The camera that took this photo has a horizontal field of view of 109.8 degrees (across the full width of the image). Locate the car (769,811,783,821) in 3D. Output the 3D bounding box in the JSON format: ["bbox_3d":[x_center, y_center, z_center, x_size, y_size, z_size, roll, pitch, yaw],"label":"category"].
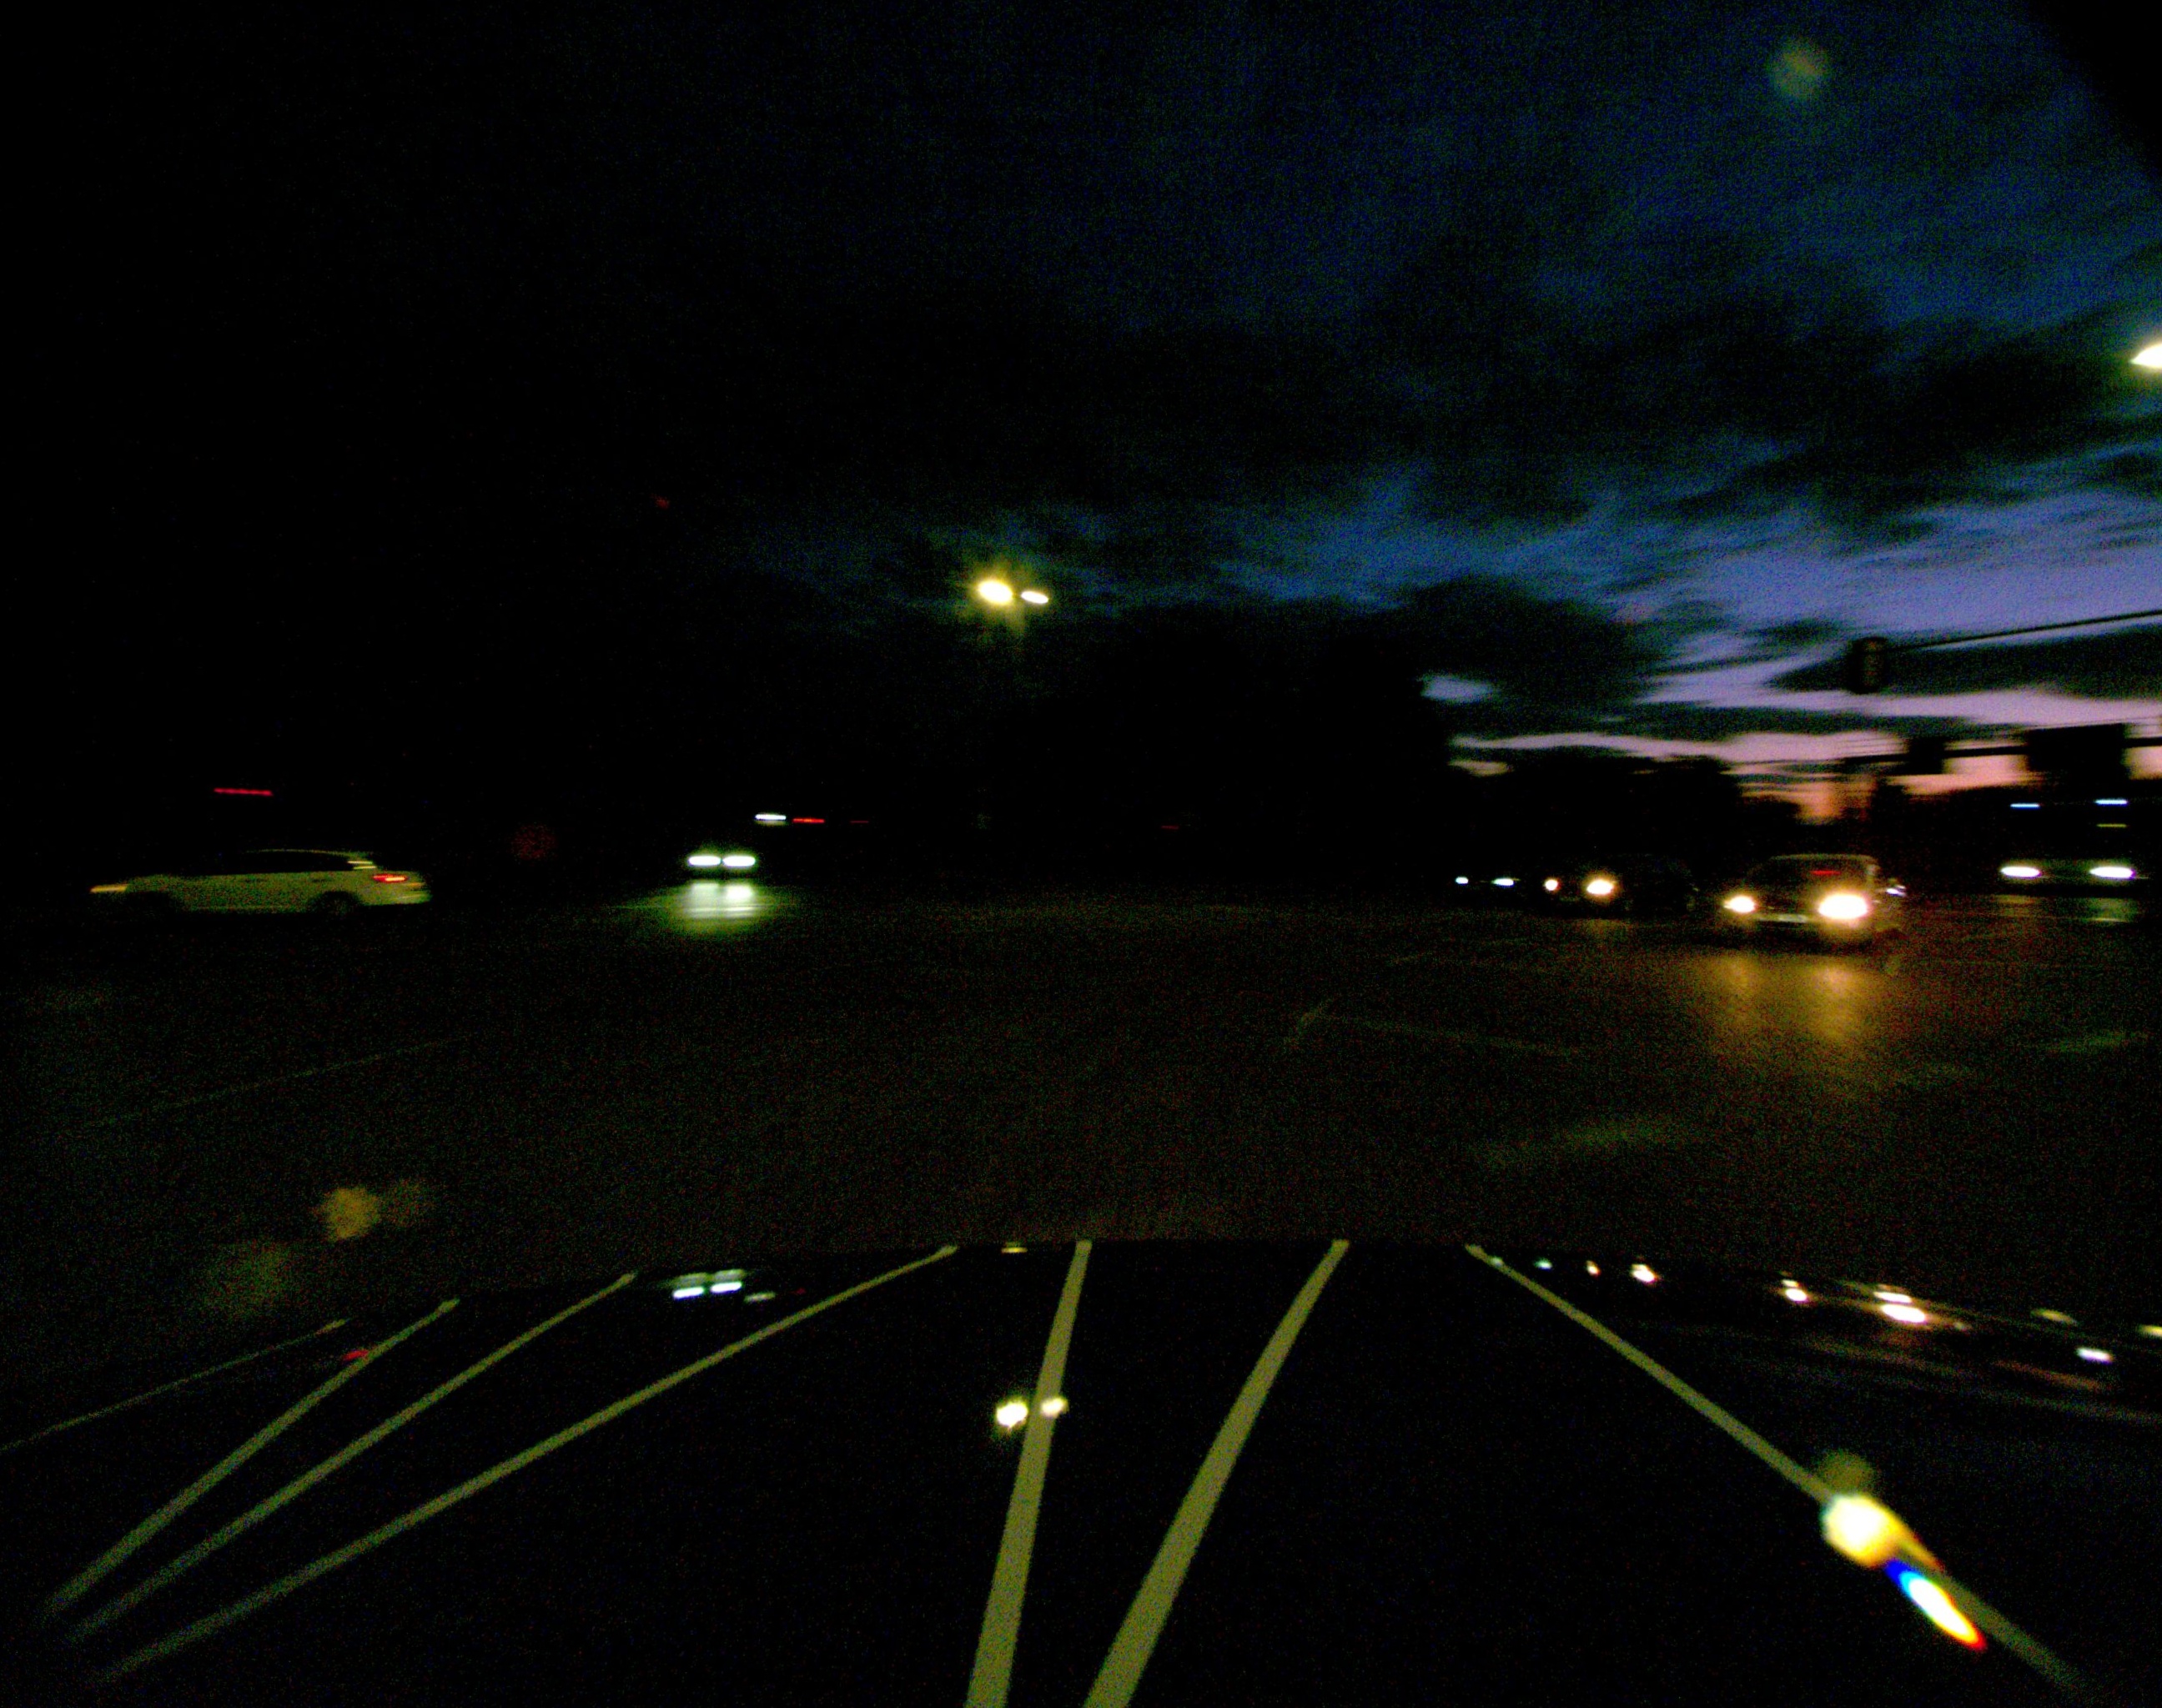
[{"bbox_3d":[-54.903,-6.867,136.760,1.700,1.587,3.920,-1,1,-12],"label":"car"}]

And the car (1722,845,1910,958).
[{"bbox_3d":[12.791,0.687,13.141,4.419,1.643,1.667,-1,0,-37],"label":"car"}]

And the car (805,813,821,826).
[{"bbox_3d":[-37.373,-4.819,105.881,1.743,1.565,4.047,-1,6,-26],"label":"car"}]

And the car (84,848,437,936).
[{"bbox_3d":[-14.897,0.629,14.124,4.122,1.435,1.621,0,2,-21],"label":"car"}]

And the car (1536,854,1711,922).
[{"bbox_3d":[13.101,0.758,18.347,3.780,1.472,1.668,-1,1,-22],"label":"car"}]

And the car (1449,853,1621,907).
[{"bbox_3d":[13.161,0.697,22.056,4.538,1.435,1.793,-1,0,-19],"label":"car"}]

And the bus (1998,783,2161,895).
[{"bbox_3d":[39.901,-0.600,29.339,12.291,3.768,2.610,-1,1,-25],"label":"bus"}]
